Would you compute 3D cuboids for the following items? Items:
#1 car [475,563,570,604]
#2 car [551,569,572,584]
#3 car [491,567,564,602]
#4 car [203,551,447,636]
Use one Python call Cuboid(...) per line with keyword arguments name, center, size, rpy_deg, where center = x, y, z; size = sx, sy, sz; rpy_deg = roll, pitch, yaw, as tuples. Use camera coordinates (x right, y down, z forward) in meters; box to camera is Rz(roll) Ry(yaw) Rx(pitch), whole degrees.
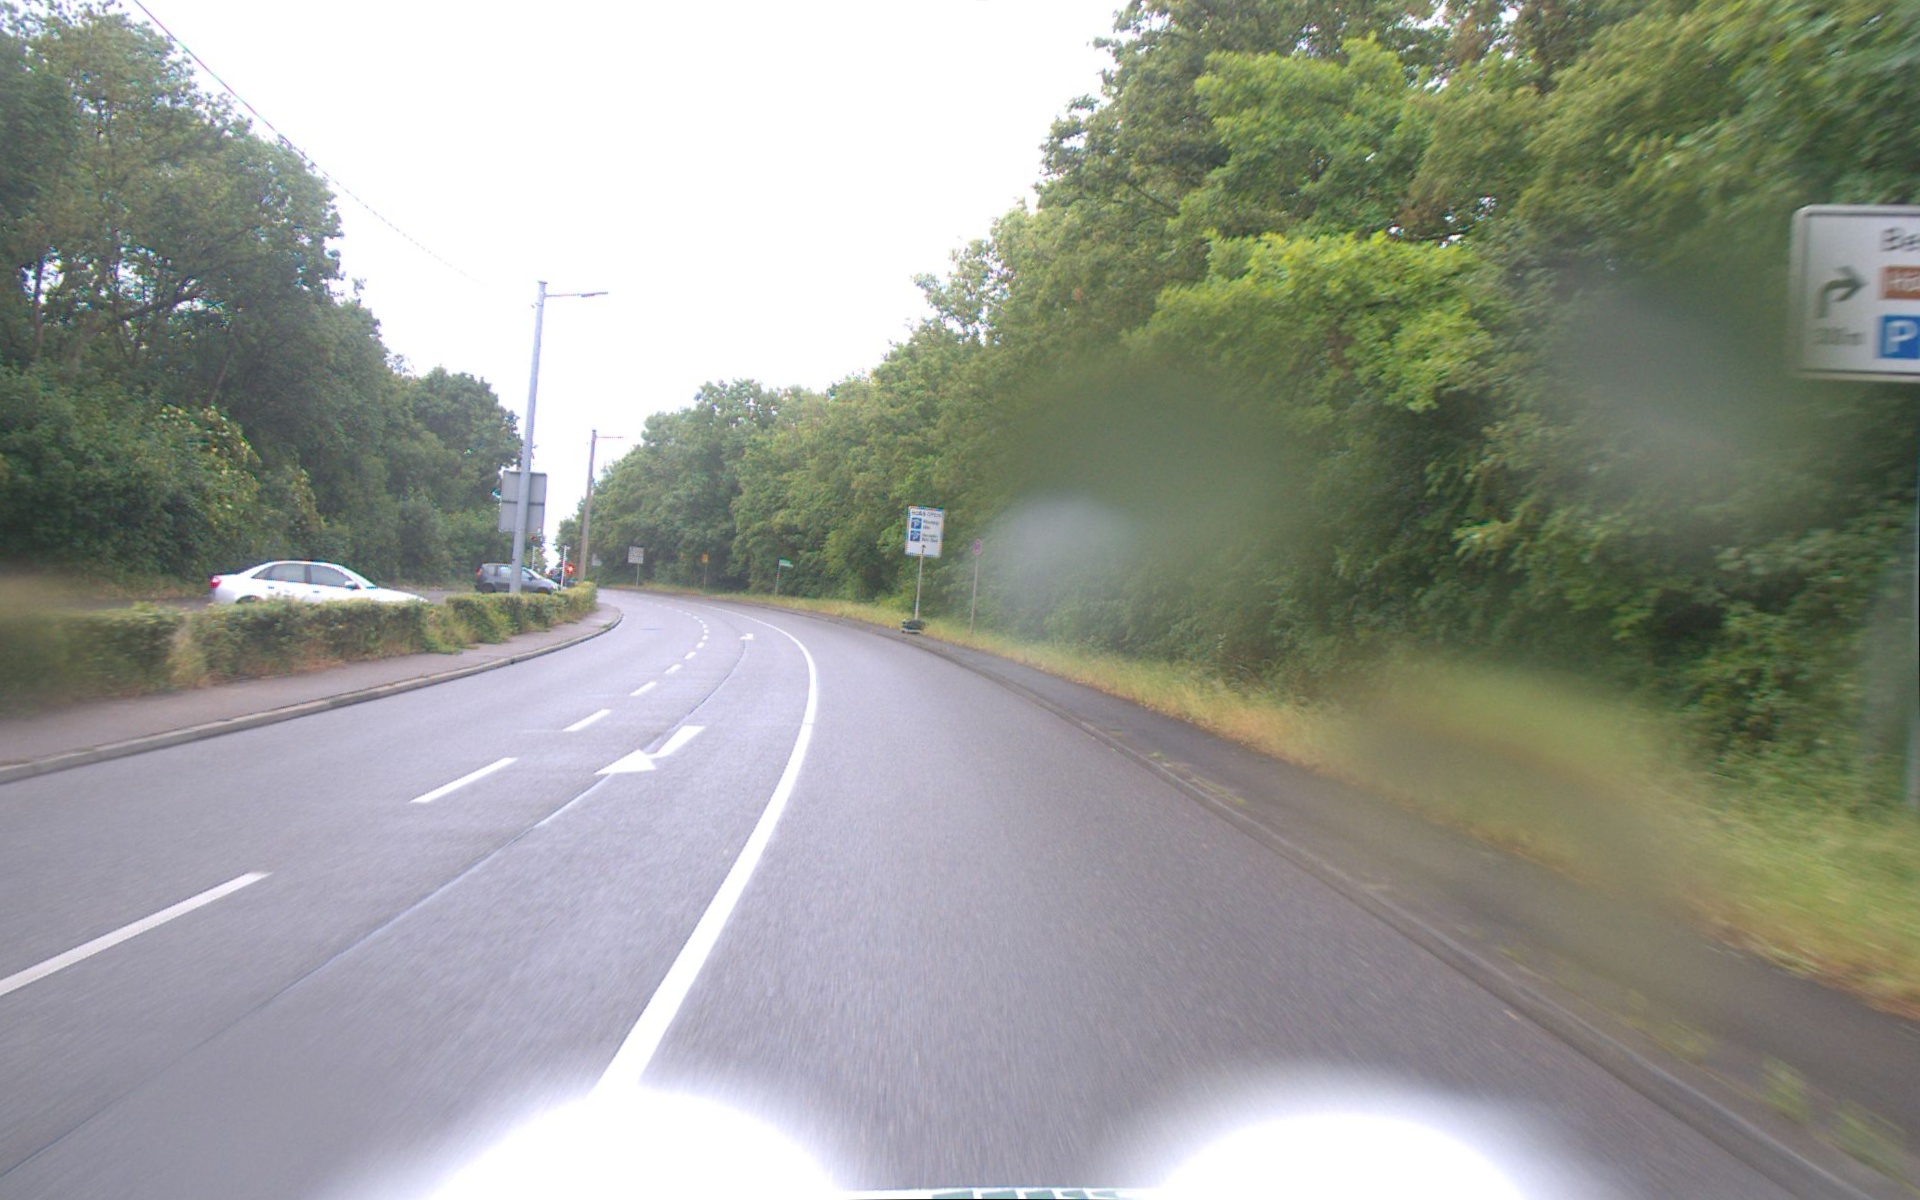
Cuboid(name="car", center=(-21.316, -0.806, 80.730), size=(4.212, 1.738, 1.996), rpy_deg=(3, 0, -10))
Cuboid(name="car", center=(-42.714, -2.498, 177.231), size=(1.905, 1.524, 4.297), rpy_deg=(2, 0, -18))
Cuboid(name="car", center=(-22.558, -0.828, 86.231), size=(3.586, 1.619, 1.844), rpy_deg=(3, 0, -16))
Cuboid(name="car", center=(-13.393, -0.139, 35.156), size=(4.495, 1.532, 1.994), rpy_deg=(3, 0, -13))
